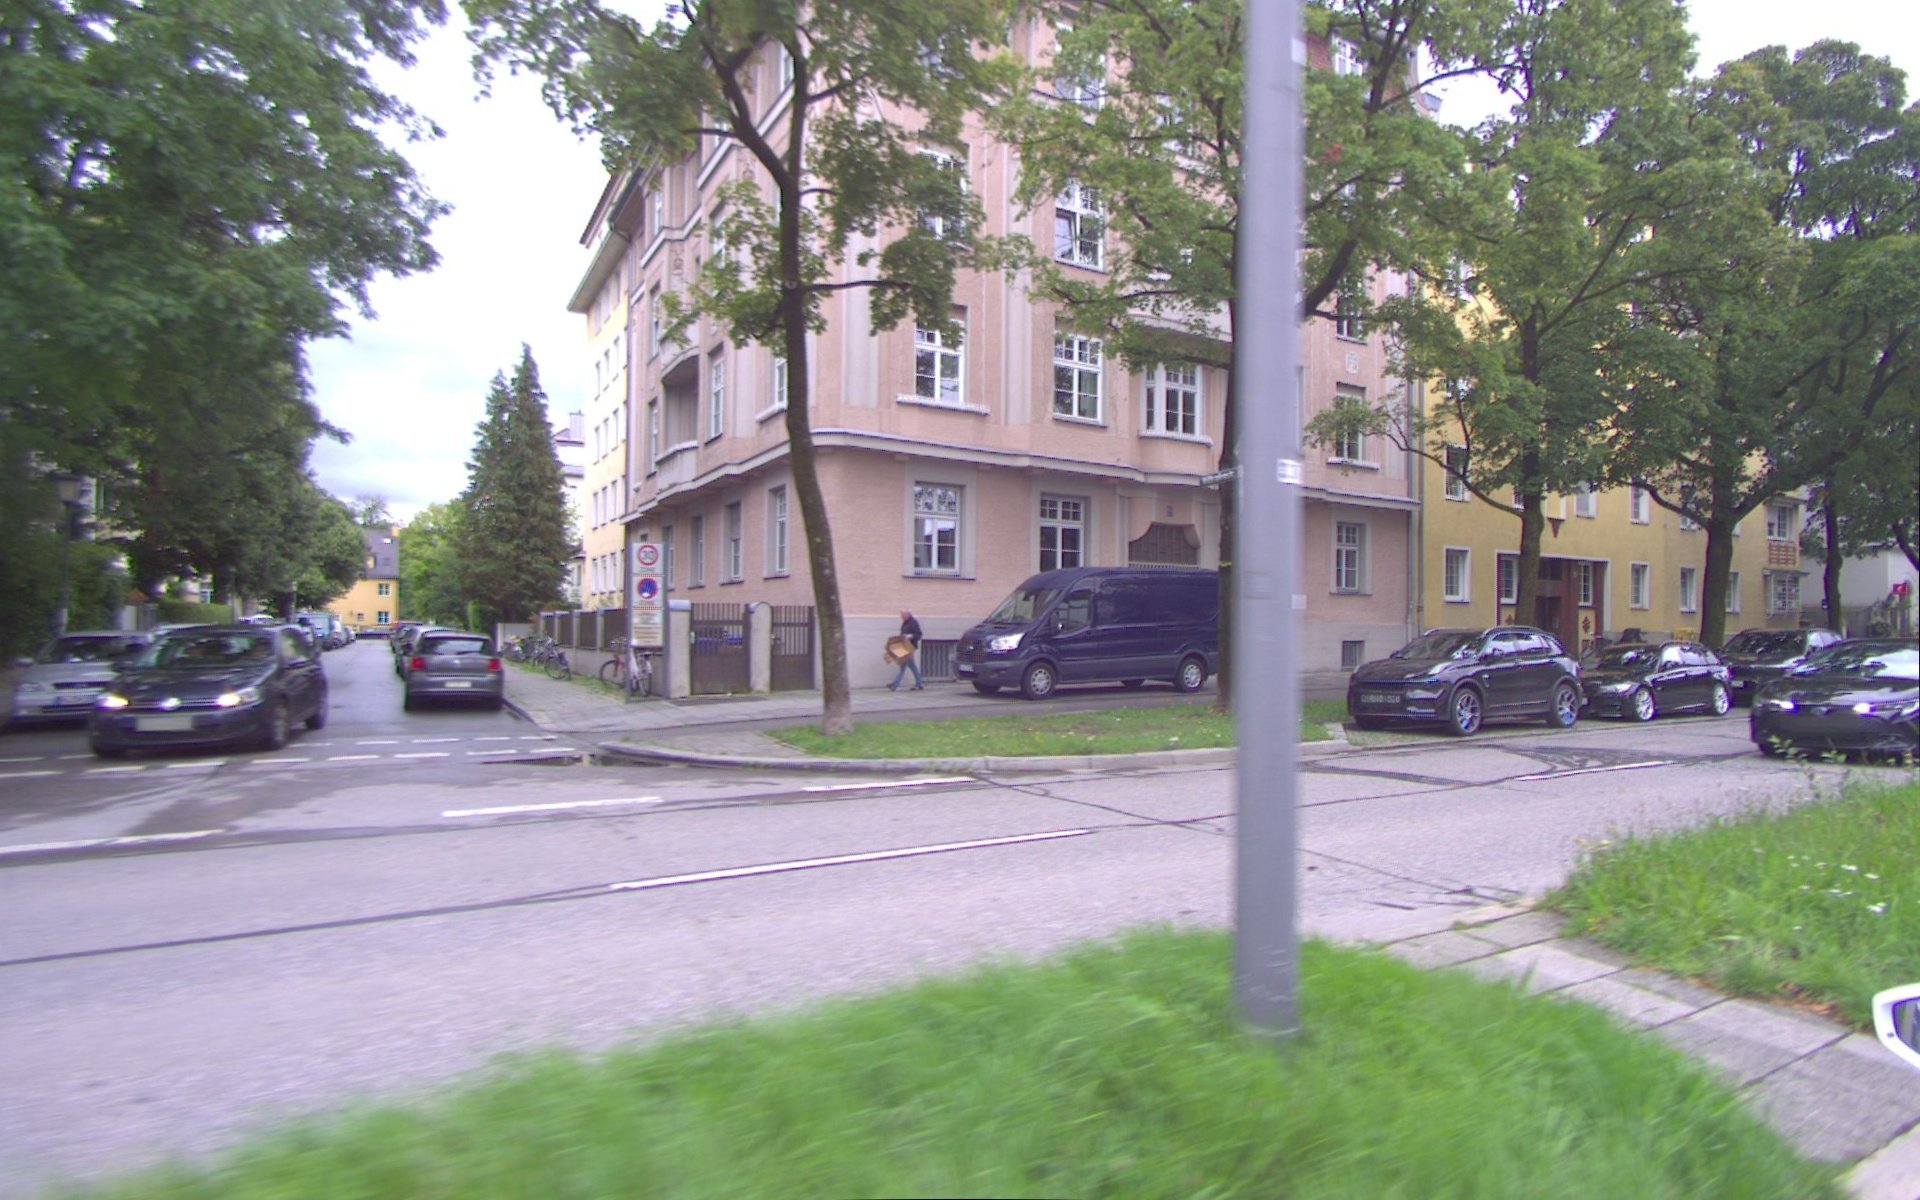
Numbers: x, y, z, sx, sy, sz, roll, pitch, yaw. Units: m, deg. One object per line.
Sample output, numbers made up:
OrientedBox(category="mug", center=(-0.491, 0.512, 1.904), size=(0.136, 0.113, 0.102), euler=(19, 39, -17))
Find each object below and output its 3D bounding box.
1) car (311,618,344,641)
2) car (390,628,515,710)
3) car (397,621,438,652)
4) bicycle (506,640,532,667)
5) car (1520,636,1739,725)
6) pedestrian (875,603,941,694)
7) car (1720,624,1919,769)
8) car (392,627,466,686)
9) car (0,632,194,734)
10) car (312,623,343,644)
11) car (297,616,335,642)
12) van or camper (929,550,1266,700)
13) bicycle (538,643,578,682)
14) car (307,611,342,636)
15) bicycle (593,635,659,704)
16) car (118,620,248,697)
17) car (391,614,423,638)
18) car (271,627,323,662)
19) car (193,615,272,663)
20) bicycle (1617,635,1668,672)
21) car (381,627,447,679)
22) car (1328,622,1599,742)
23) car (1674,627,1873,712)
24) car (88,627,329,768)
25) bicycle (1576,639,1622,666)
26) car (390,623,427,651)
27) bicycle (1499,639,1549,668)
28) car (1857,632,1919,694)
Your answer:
OrientedBox(category="car", center=(-43.199, 1.994, 68.653), size=(1.775, 1.504, 3.967), euler=(1, -1, -31))
OrientedBox(category="car", center=(-9.913, 1.259, 19.500), size=(1.890, 1.389, 3.677), euler=(1, -1, -31))
OrientedBox(category="car", center=(-27.478, 1.838, 50.848), size=(1.636, 1.469, 3.498), euler=(1, -1, -31))
OrientedBox(category="bicycle", center=(-16.902, 2.049, 38.480), size=(0.514, 0.967, 1.866), euler=(1, -1, -37))
OrientedBox(category="car", center=(12.636, 1.438, 18.886), size=(4.440, 1.474, 1.684), euler=(1, -1, -30))
OrientedBox(category="pedestrian", center=(-1.027, 0.946, 19.885), size=(1.070, 1.733, 0.745), euler=(1, -1, -30))
OrientedBox(category="car", center=(11.503, 1.106, 12.447), size=(4.272, 1.526, 1.803), euler=(1, -4, -30))
OrientedBox(category="car", center=(-14.786, 1.516, 27.893), size=(1.595, 1.469, 3.498), euler=(1, -1, -31))
OrientedBox(category="car", center=(-13.573, 1.220, 15.961), size=(1.775, 1.339, 3.967), euler=(1, -1, -31))
OrientedBox(category="car", center=(-45.627, 2.401, 72.455), size=(1.775, 1.504, 3.967), euler=(1, -1, -31))
OrientedBox(category="car", center=(-38.876, 1.733, 60.718), size=(1.775, 1.504, 3.967), euler=(1, -1, -31))
OrientedBox(category="van or camper", center=(2.900, 0.495, 20.257), size=(6.771, 2.613, 2.334), euler=(1, -1, -31))
OrientedBox(category="bicycle", center=(-10.710, 1.644, 26.726), size=(0.514, 0.967, 1.866), euler=(1, -1, -37))
OrientedBox(category="car", center=(-40.840, 1.506, 64.637), size=(1.775, 1.504, 3.967), euler=(1, -1, -31))
OrientedBox(category="bicycle", center=(-6.806, 1.350, 20.340), size=(0.513, 1.191, 3.530), euler=(1, -1, -31))
OrientedBox(category="car", center=(-17.064, 1.223, 22.237), size=(1.775, 1.504, 3.967), euler=(1, -1, -31))
OrientedBox(category="car", center=(-35.045, 1.625, 63.647), size=(1.636, 1.469, 3.498), euler=(1, -1, -31))
OrientedBox(category="car", center=(-30.211, 2.006, 45.876), size=(1.775, 1.504, 3.967), euler=(1, -1, -31))
OrientedBox(category="car", center=(-24.273, 1.268, 33.615), size=(1.775, 1.504, 3.967), euler=(1, -1, -31))
OrientedBox(category="bicycle", center=(23.994, 1.871, 35.297), size=(1.908, 1.238, 0.766), euler=(1, -1, -31))
OrientedBox(category="car", center=(-17.033, 1.613, 31.250), size=(1.636, 1.469, 3.498), euler=(1, -1, -31))
OrientedBox(category="car", center=(8.222, 1.239, 16.325), size=(4.386, 1.709, 1.865), euler=(1, -1, -30))
OrientedBox(category="car", center=(17.828, 1.448, 21.969), size=(4.714, 1.667, 1.870), euler=(1, -1, -30))
OrientedBox(category="car", center=(-9.217, 1.076, 12.680), size=(1.839, 1.394, 3.971), euler=(0, -1, -28))
OrientedBox(category="bicycle", center=(21.888, 1.791, 34.405), size=(1.908, 0.911, 0.539), euler=(1, -1, -31))
OrientedBox(category="car", center=(-30.650, 2.057, 55.787), size=(1.636, 1.469, 3.498), euler=(1, -1, -31))
OrientedBox(category="bicycle", center=(18.142, 1.714, 32.301), size=(1.908, 0.911, 0.539), euler=(1, -1, -31))
OrientedBox(category="car", center=(26.519, 1.695, 27.547), size=(4.009, 1.582, 1.718), euler=(1, -1, -30))
